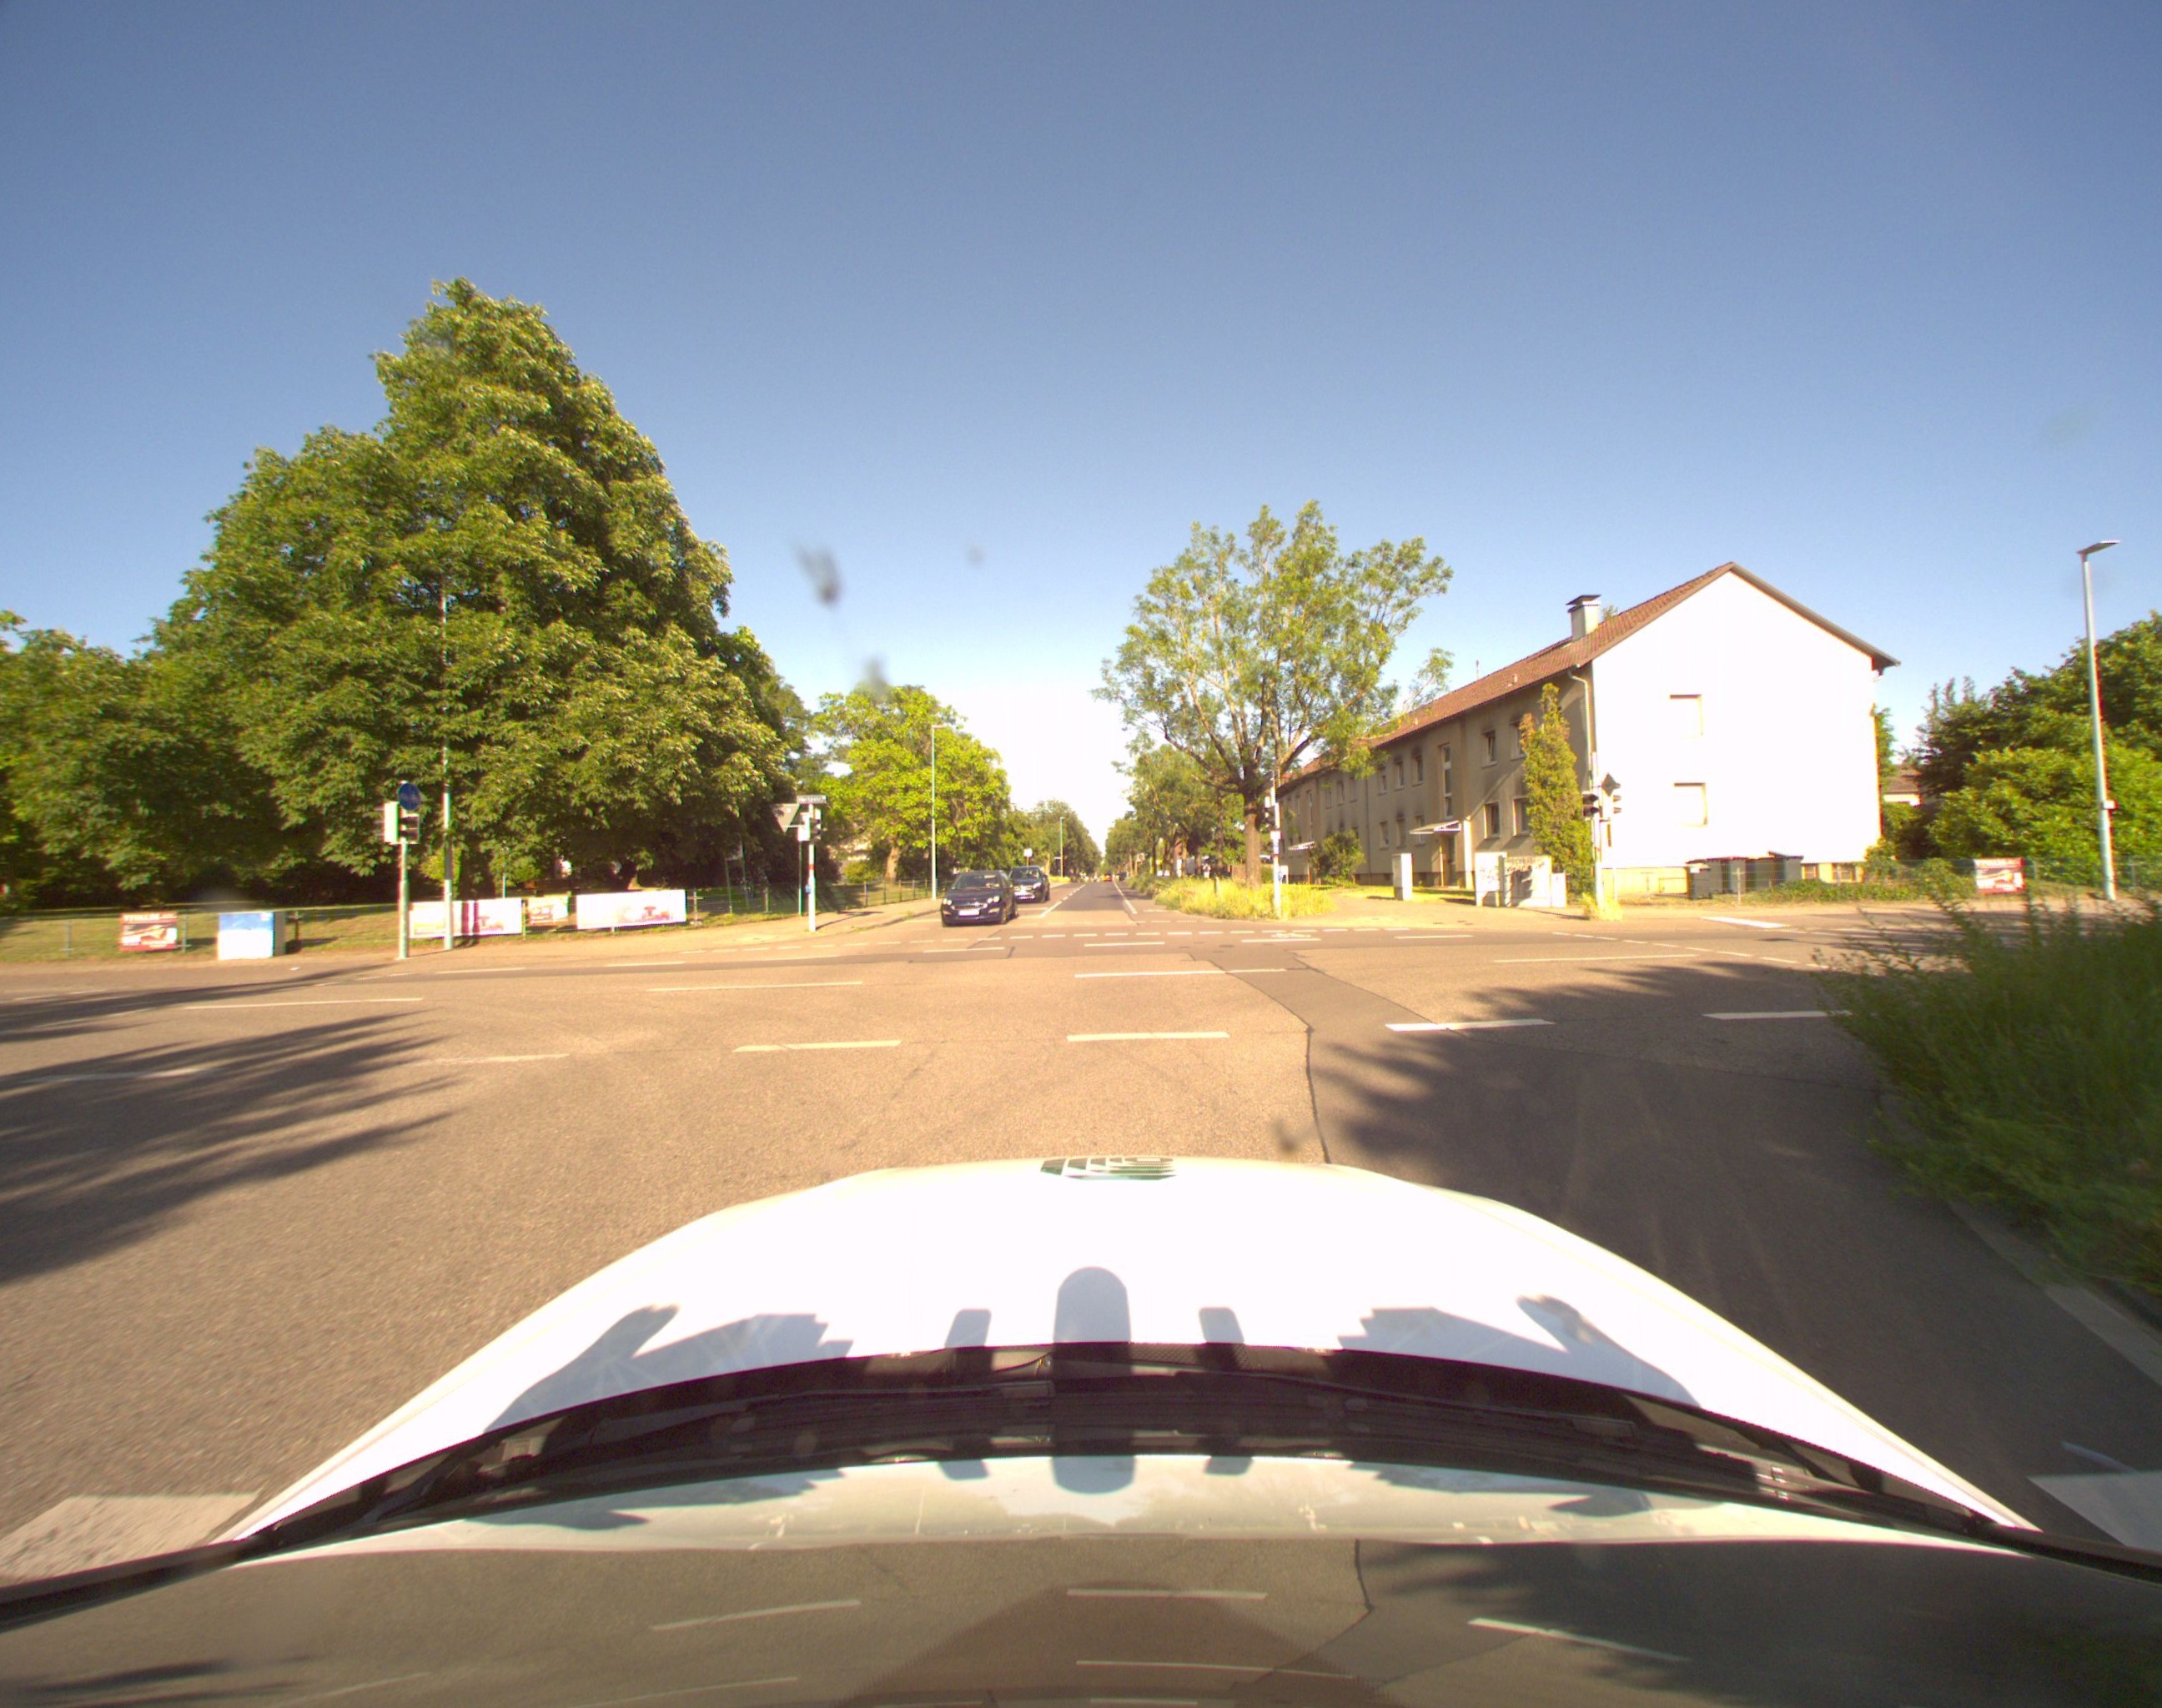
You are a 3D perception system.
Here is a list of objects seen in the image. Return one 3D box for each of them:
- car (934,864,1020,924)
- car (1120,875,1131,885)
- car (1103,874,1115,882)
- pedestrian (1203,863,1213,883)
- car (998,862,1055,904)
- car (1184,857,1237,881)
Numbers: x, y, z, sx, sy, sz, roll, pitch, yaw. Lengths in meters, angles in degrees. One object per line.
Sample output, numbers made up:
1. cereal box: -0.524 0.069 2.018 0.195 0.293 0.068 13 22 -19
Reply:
1. car: -2.798 1.099 22.769 1.800 1.455 3.850 -2 -2 1
2. car: 7.850 4.602 143.566 1.846 1.626 4.470 -3 -3 1
3. car: 5.049 4.356 146.354 1.882 1.479 3.885 1 -2 -1
4. pedestrian: 10.873 1.606 69.903 0.635 1.706 0.612 -4 -1 0
5. car: -2.323 1.223 35.770 1.806 1.618 4.397 -3 -1 4
6. car: 14.650 1.689 92.355 5.580 2.539 2.264 -1 -2 -2
